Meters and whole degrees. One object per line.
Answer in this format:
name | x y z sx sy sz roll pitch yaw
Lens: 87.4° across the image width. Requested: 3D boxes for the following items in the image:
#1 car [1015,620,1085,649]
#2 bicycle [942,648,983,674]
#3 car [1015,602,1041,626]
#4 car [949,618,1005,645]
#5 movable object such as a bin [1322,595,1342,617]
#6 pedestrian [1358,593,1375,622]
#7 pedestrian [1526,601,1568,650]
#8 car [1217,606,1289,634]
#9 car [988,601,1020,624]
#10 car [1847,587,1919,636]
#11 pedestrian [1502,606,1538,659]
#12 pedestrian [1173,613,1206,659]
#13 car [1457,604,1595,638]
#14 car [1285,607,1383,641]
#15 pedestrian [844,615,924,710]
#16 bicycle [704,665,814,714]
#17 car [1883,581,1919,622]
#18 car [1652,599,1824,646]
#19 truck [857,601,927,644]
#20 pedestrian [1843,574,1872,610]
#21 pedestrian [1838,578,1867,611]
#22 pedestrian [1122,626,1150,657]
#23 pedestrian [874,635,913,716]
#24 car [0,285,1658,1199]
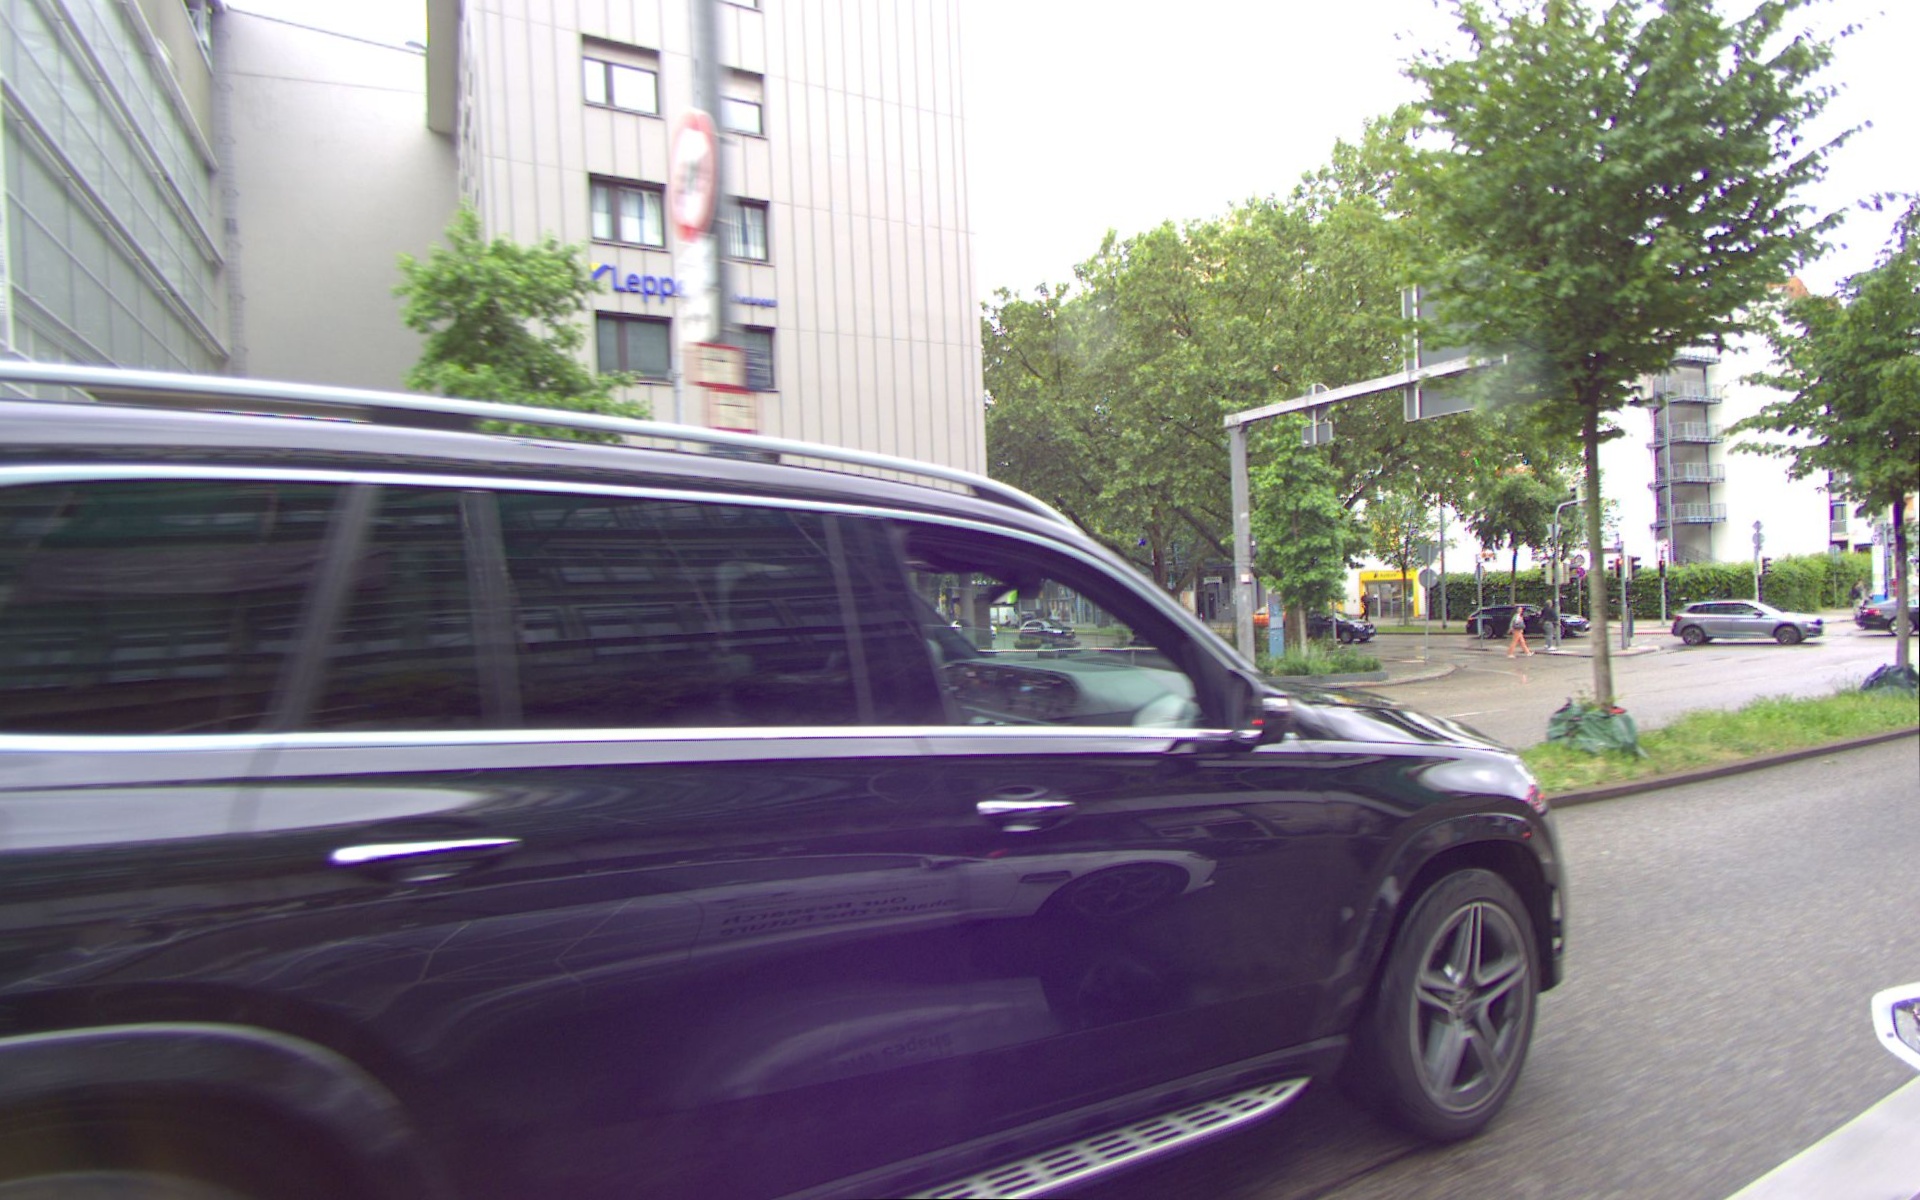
car | 5.659 2.184 63.596 1.944 1.782 4.563 0 -2 -35
bicycle | 0.077 2.407 39.936 0.741 0.903 1.870 1 0 -33
car | 5.807 1.181 85.404 1.959 2.040 4.002 0 0 8
car | 1.173 2.232 71.132 1.976 1.786 4.384 0 -2 -30
movable object such as a bin | 25.524 0.410 68.937 0.593 1.465 1.108 0 -2 -27
pedestrian | 25.396 0.451 62.800 0.823 1.802 0.612 0 -1 -33
pedestrian | 21.062 0.906 36.056 1.035 1.731 0.813 -1 -1 7
car | 18.069 1.226 62.033 1.762 1.638 3.960 1 -1 -42
car | 3.973 1.097 90.452 2.017 2.040 4.267 0 0 15
car | 33.776 0.417 34.679 4.627 1.665 1.778 1 1 40
pedestrian | 19.111 1.107 34.308 0.860 1.803 0.708 -1 -1 14
pedestrian | 8.897 1.399 38.945 0.937 1.745 0.757 0 -1 -18
car | 24.616 0.876 43.818 1.752 1.289 4.949 1 1 -43
car | 17.676 1.113 47.537 1.913 1.532 3.951 0 -1 -42
pedestrian | -1.444 1.162 19.063 1.298 1.735 0.811 0 -2 -31
bicycle | -4.997 2.209 25.107 2.641 1.101 0.608 1 0 -32
car | 37.022 0.048 37.157 1.828 1.547 3.962 0 0 -34
car | 27.394 0.748 35.464 1.928 1.502 4.547 1 1 -43
truck | -5.119 1.711 74.964 2.739 3.067 6.262 0 -2 -30
pedestrian | 46.295 -0.420 51.804 0.888 1.826 0.628 -1 -1 18
pedestrian | 45.156 -0.249 50.803 0.908 1.629 0.564 -1 -1 18
pedestrian | 7.512 1.771 42.922 0.935 1.289 0.758 -2 -1 33
pedestrian | -1.453 1.634 21.990 0.628 1.735 0.597 0 -2 -31
car | -0.455 0.544 2.738 4.736 1.841 2.077 0 1 -31
